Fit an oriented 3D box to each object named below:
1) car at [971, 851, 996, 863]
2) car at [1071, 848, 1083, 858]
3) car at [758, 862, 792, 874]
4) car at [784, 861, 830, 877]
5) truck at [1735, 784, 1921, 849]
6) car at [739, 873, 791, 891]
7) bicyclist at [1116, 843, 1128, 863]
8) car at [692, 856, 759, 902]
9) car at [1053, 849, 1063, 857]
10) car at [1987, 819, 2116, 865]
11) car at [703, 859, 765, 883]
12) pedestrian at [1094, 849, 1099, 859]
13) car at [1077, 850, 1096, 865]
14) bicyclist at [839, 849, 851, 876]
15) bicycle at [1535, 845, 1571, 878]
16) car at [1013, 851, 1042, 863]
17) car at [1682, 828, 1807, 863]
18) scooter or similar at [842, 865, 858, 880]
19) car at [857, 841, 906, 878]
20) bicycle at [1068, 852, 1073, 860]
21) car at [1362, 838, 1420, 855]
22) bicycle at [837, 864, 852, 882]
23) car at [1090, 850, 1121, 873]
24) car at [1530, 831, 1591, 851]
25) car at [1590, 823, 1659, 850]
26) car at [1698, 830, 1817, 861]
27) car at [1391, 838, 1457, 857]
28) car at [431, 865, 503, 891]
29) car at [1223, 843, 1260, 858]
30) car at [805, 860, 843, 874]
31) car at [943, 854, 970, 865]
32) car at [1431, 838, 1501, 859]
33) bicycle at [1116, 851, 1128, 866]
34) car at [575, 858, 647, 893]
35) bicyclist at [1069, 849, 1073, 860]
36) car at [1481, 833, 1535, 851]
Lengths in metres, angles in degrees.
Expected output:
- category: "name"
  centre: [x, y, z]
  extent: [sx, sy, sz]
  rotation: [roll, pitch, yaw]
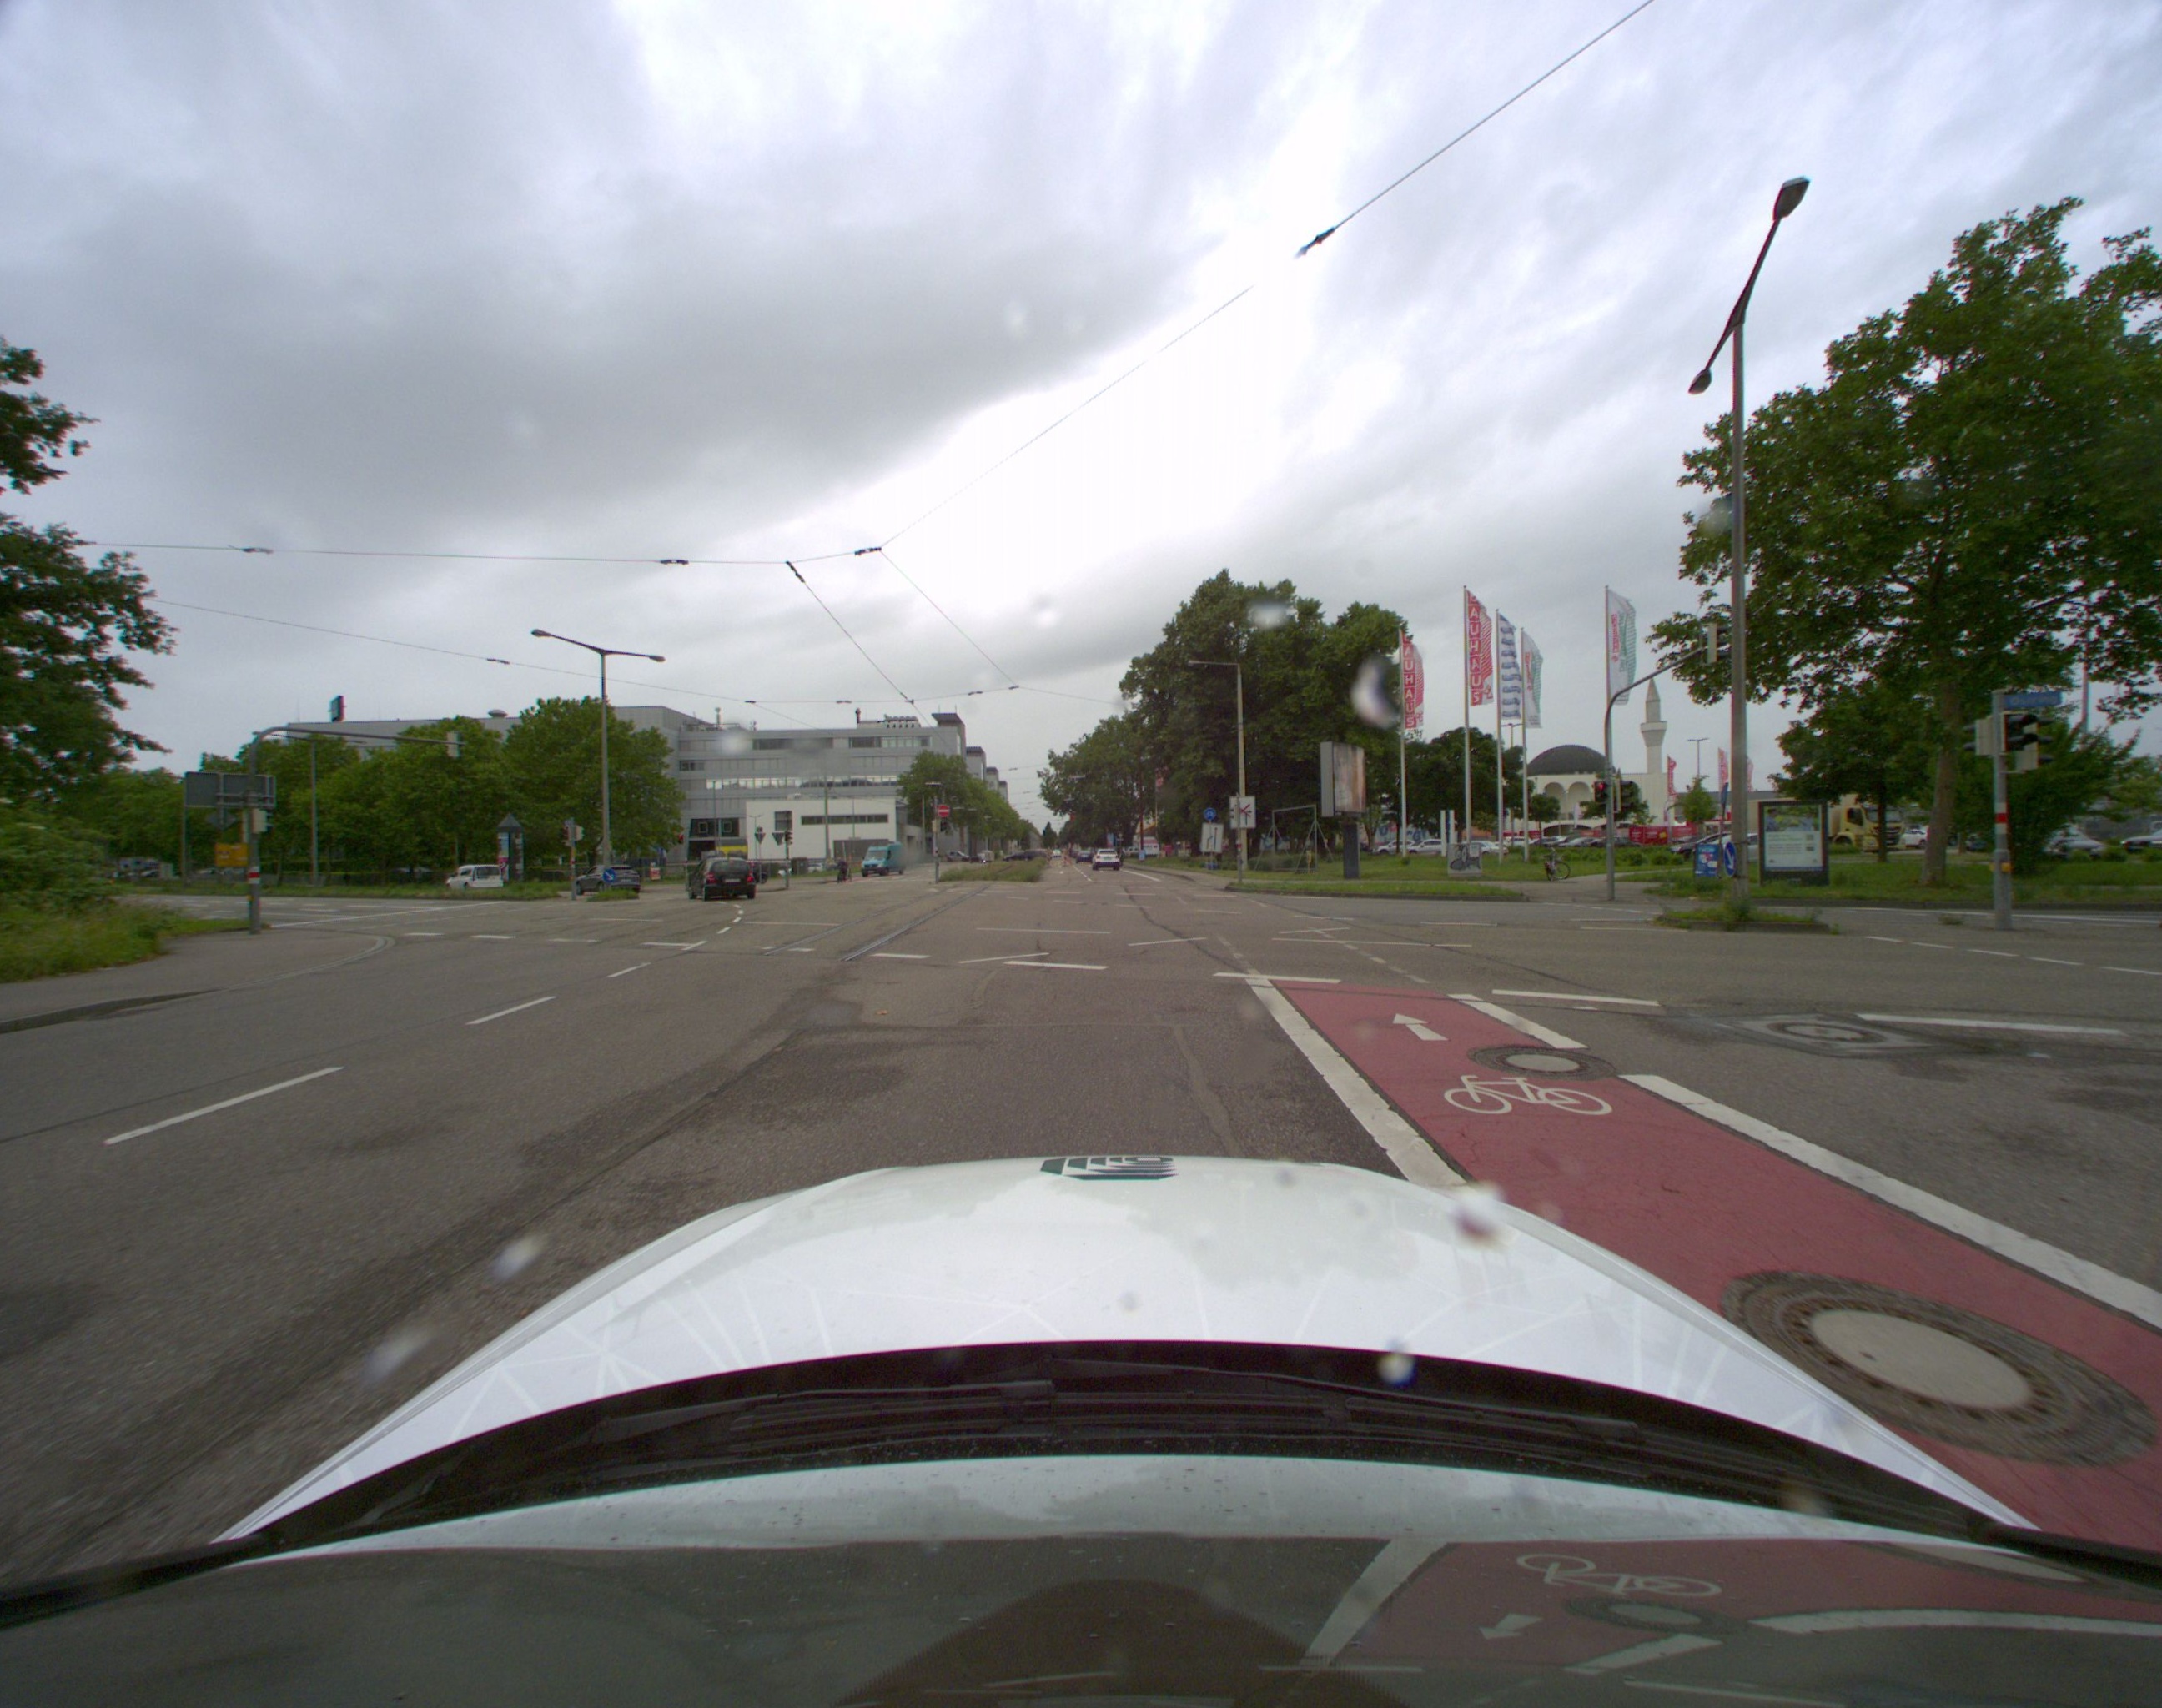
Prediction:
- category: "car"
  centre: [-13.096, 0.420, 109.288]
  extent: [1.831, 1.475, 4.089]
  rotation: [-2, -1, -30]
- category: "car"
  centre: [-0.698, -0.189, 138.761]
  extent: [1.873, 1.632, 3.995]
  rotation: [-2, 0, -3]
- category: "car"
  centre: [-42.362, 1.974, 112.769]
  extent: [3.980, 1.485, 1.910]
  rotation: [-2, 0, -5]
- category: "car"
  centre: [-30.788, 1.654, 91.592]
  extent: [4.519, 1.634, 1.910]
  rotation: [-2, 0, -5]
- category: "truck"
  centre: [45.982, -2.151, 50.703]
  extent: [2.932, 3.564, 9.242]
  rotation: [0, 0, -2]
- category: "car"
  centre: [-30.582, 2.738, 78.956]
  extent: [4.198, 1.532, 1.912]
  rotation: [-2, 0, -1]
- category: "bicyclist"
  centre: [3.407, -0.102, 68.115]
  extent: [0.814, 1.630, 1.234]
  rotation: [-2, 0, -2]
- category: "car"
  centre: [-13.382, 0.885, 30.541]
  extent: [1.780, 1.527, 3.632]
  rotation: [-1, 1, -32]
- category: "car"
  centre: [-4.596, -0.182, 160.369]
  extent: [1.792, 1.513, 3.700]
  rotation: [0, 1, -5]
- category: "car"
  centre: [34.078, -0.372, 28.751]
  extent: [1.803, 1.497, 4.262]
  rotation: [0, 0, 34]
- category: "car"
  centre: [-24.265, 1.160, 57.053]
  extent: [3.629, 1.527, 1.782]
  rotation: [-2, 0, 16]
- category: "pedestrian"
  centre: [2.757, 0.018, 144.815]
  extent: [0.760, 1.704, 0.680]
  rotation: [-2, 0, -7]
- category: "car"
  centre: [0.579, 0.330, 87.404]
  extent: [1.681, 1.513, 3.700]
  rotation: [0, 1, -5]
- category: "bicyclist"
  centre: [-14.816, 0.514, 51.102]
  extent: [0.645, 1.683, 0.684]
  rotation: [0, 1, -8]
- category: "bicycle"
  centre: [16.641, 0.252, 28.722]
  extent: [1.817, 1.118, 0.483]
  rotation: [-2, 0, -40]
- category: "car"
  centre: [-7.160, 0.394, 108.906]
  extent: [3.874, 1.556, 1.824]
  rotation: [0, 0, -3]
- category: "car"
  centre: [29.475, -0.363, 36.237]
  extent: [4.215, 1.497, 1.927]
  rotation: [0, 0, -6]
- category: "scooter or similar"
  centre: [-14.998, 1.217, 52.814]
  extent: [0.843, 0.907, 1.194]
  rotation: [0, 1, -8]
- category: "car"
  centre: [-16.216, 0.412, 66.488]
  extent: [2.320, 2.825, 5.952]
  rotation: [-2, 0, 2]
- category: "bicycle"
  centre: [-1.767, 0.291, 141.550]
  extent: [0.669, 1.394, 2.163]
  rotation: [0, 1, -5]
- category: "car"
  centre: [27.953, -0.697, 73.426]
  extent: [4.526, 1.497, 1.955]
  rotation: [0, 0, -7]
- category: "bicycle"
  centre: [-14.823, 1.163, 51.129]
  extent: [0.645, 1.062, 2.019]
  rotation: [0, 1, -8]
- category: "car"
  centre: [1.715, 0.498, 58.818]
  extent: [1.820, 1.600, 3.769]
  rotation: [0, 1, -5]
- category: "car"
  centre: [44.764, -1.185, 76.067]
  extent: [4.549, 1.677, 2.150]
  rotation: [-2, 0, -7]
- category: "car"
  centre: [46.053, -1.473, 69.035]
  extent: [4.549, 2.051, 2.150]
  rotation: [-2, 0, -7]
- category: "car"
  centre: [34.205, -0.420, 41.373]
  extent: [4.554, 1.497, 1.943]
  rotation: [0, 0, 37]
- category: "car"
  centre: [28.441, -0.529, 67.643]
  extent: [4.665, 1.497, 2.168]
  rotation: [0, 0, -4]
- category: "car"
  centre: [-39.036, 1.484, 51.751]
  extent: [4.946, 1.527, 1.981]
  rotation: [0, 1, 31]
- category: "car"
  centre: [21.697, -0.465, 110.170]
  extent: [4.542, 1.790, 2.072]
  rotation: [-1, 1, -3]
- category: "car"
  centre: [-30.742, 1.538, 97.503]
  extent: [3.980, 1.485, 1.910]
  rotation: [-2, 0, -5]
- category: "car"
  centre: [-21.350, 0.936, 139.745]
  extent: [4.404, 1.783, 1.823]
  rotation: [-2, 0, -4]
- category: "car"
  centre: [28.946, -0.397, 61.258]
  extent: [4.439, 1.497, 1.927]
  rotation: [0, 0, -7]
- category: "bicycle"
  centre: [3.425, 0.370, 68.119]
  extent: [0.814, 1.212, 2.681]
  rotation: [-2, 0, -2]
- category: "car"
  centre: [-24.109, 1.053, 41.787]
  extent: [3.622, 1.652, 1.790]
  rotation: [0, 1, 34]
- category: "bicyclist"
  centre: [-1.781, 0.090, 141.664]
  extent: [0.669, 1.815, 0.758]
  rotation: [0, 0, -5]
- category: "car"
  centre: [44.271, -1.218, 84.398]
  extent: [4.549, 1.677, 2.150]
  rotation: [-2, 0, -7]
